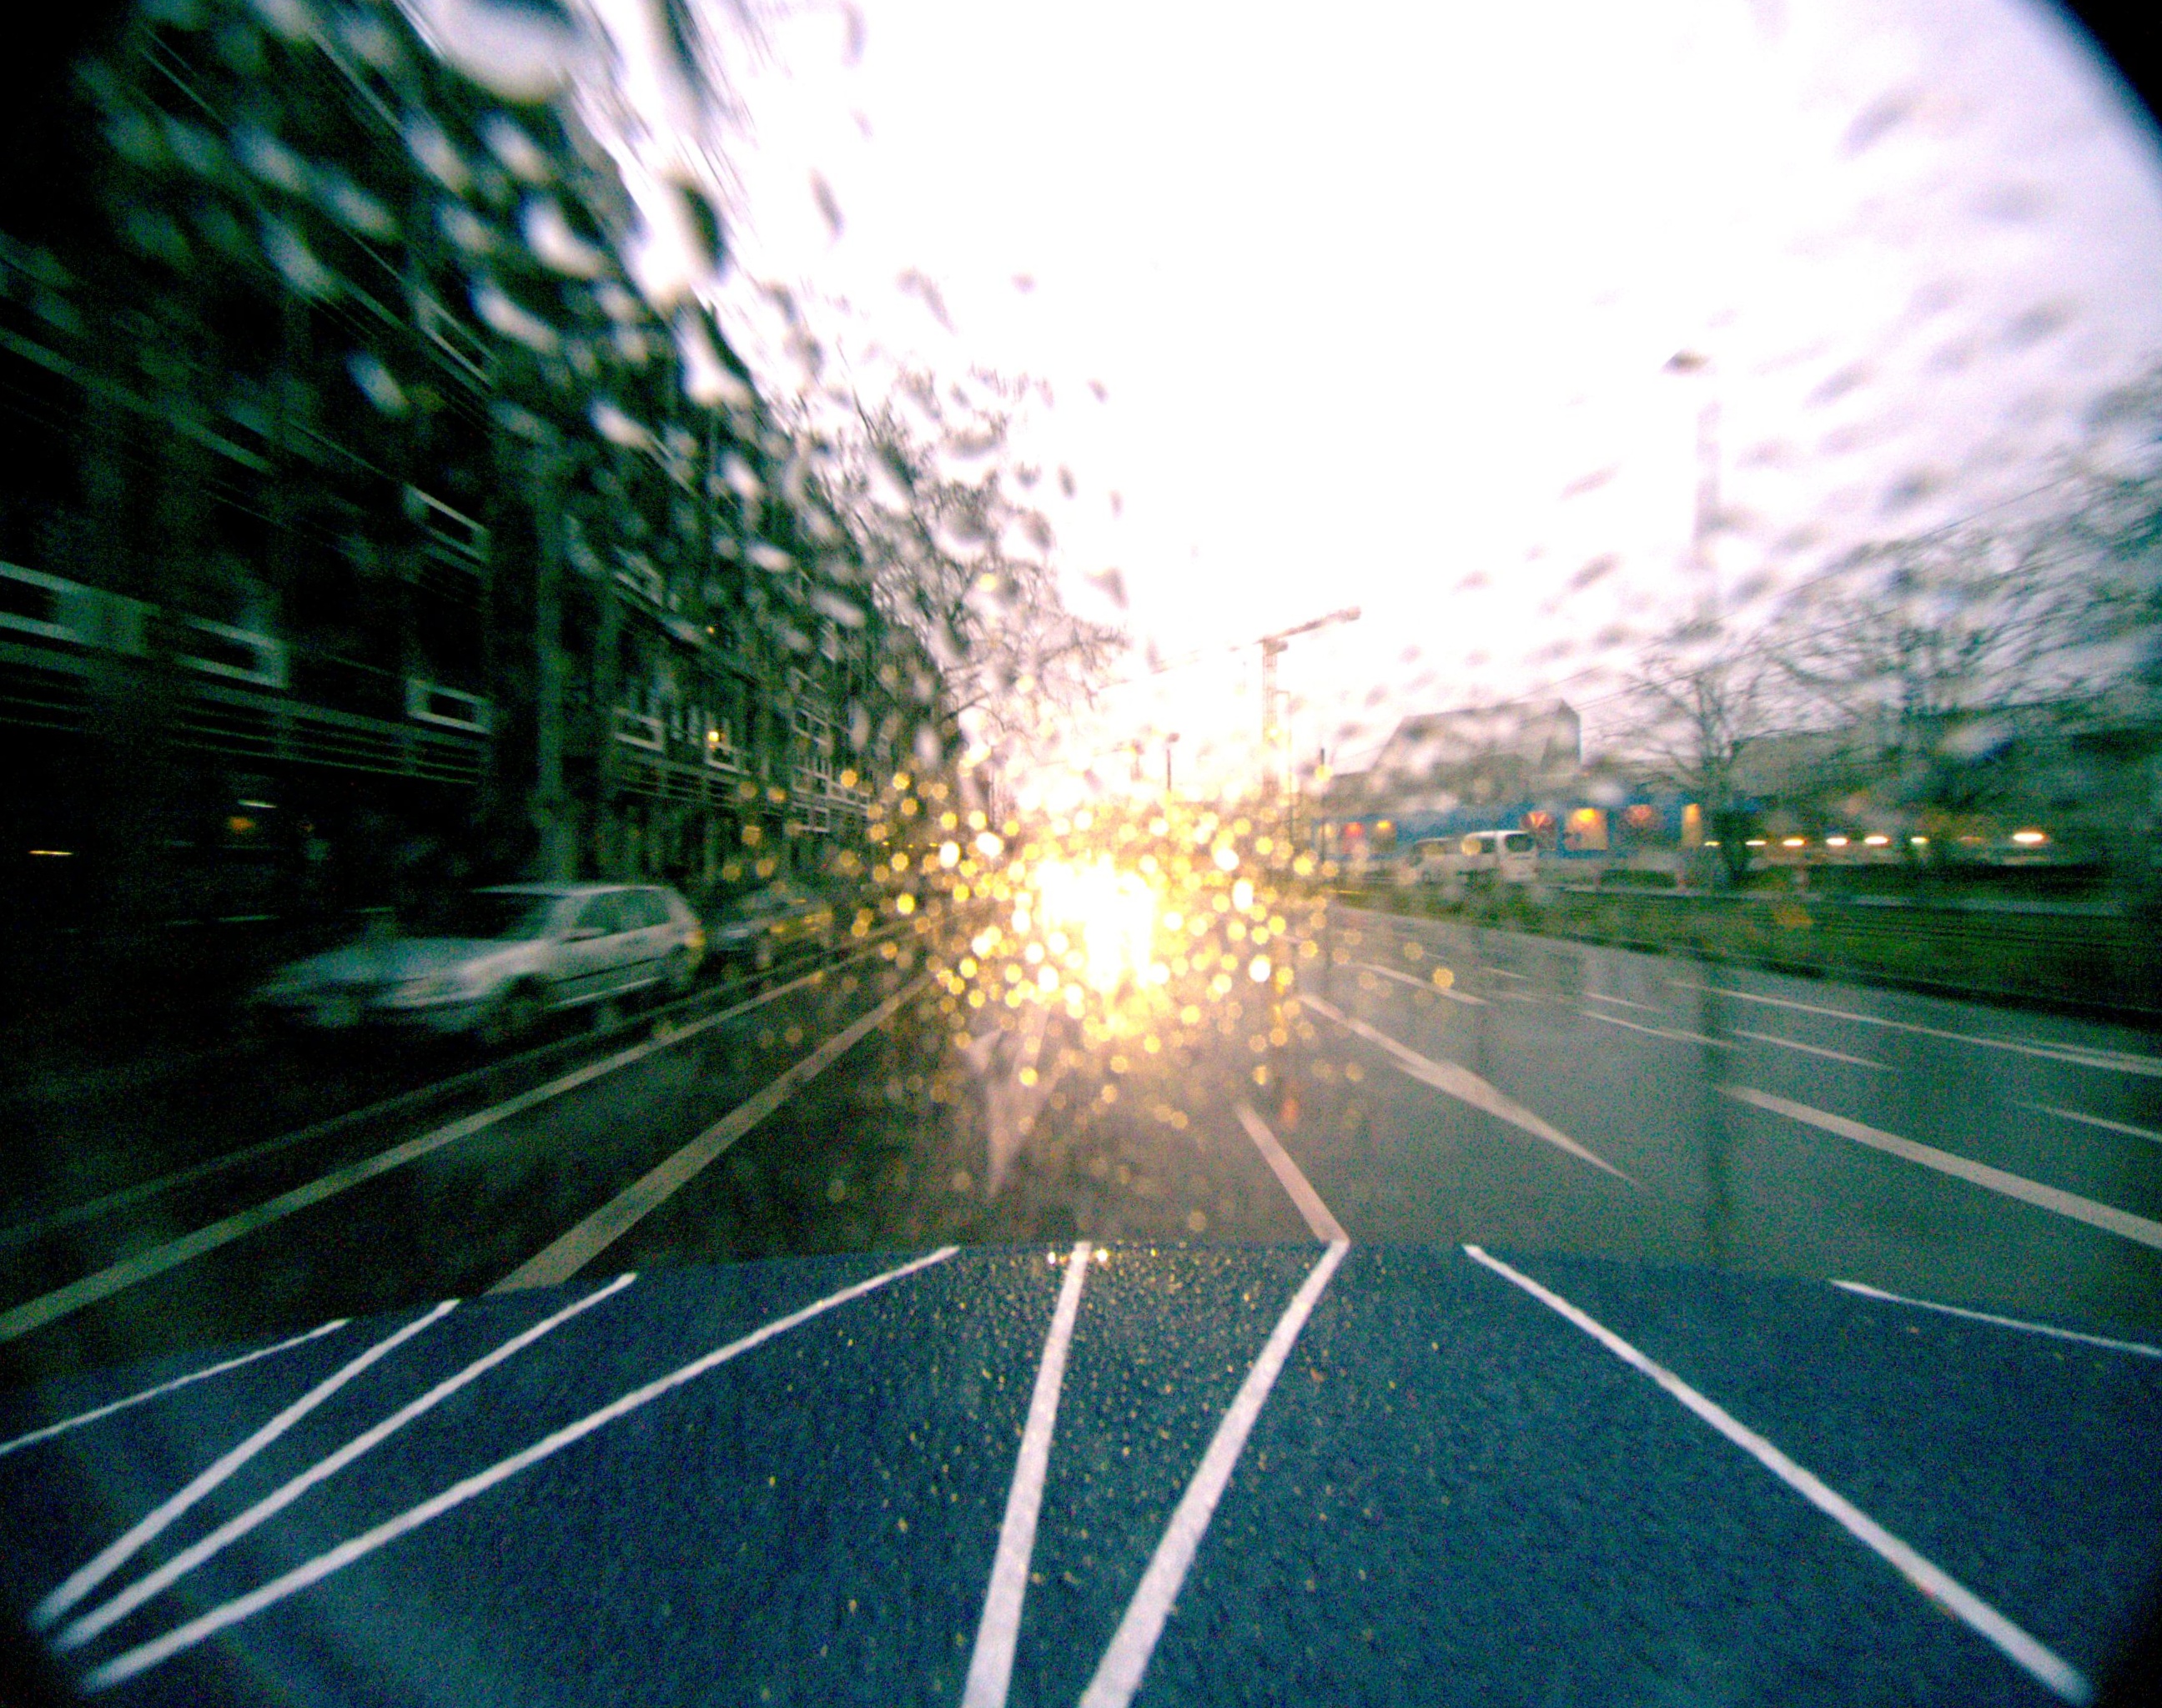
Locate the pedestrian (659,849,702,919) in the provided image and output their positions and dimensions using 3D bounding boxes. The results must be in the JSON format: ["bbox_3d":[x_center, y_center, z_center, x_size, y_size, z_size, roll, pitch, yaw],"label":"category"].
[{"bbox_3d":[-11.637,0.857,22.097,0.822,2.002,0.736,0,0,-1],"label":"pedestrian"}]

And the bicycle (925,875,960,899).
[{"bbox_3d":[-6.460,1.516,35.444,1.523,1.030,0.469,-2,1,-6],"label":"bicycle"}]

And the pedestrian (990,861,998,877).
[{"bbox_3d":[-10.850,1.830,94.440,0.838,2.002,0.771,-2,1,0],"label":"pedestrian"}]

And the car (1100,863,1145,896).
[{"bbox_3d":[1.947,1.202,36.695,1.778,1.466,4.129,0,0,-2],"label":"car"}]

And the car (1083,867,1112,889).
[{"bbox_3d":[1.152,1.724,54.829,1.855,1.466,4.129,0,0,-2],"label":"car"}]

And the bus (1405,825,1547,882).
[{"bbox_3d":[27.433,-0.005,53.862,2.815,3.556,12.301,0,0,-5],"label":"bus"}]

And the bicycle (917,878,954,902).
[{"bbox_3d":[-6.506,1.606,34.007,1.523,1.030,0.469,-2,1,-6],"label":"bicycle"}]

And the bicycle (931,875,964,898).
[{"bbox_3d":[-6.531,1.590,37.104,1.523,1.030,0.469,-2,1,-6],"label":"bicycle"}]

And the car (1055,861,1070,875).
[{"bbox_3d":[-2.628,1.989,108.871,1.858,2.001,4.002,-1,-1,2],"label":"car"}]

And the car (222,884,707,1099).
[{"bbox_3d":[-5.723,1.132,7.801,1.608,1.424,3.931,2,0,3],"label":"car"}]

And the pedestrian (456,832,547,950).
[{"bbox_3d":[-10.211,0.632,13.425,0.791,2.002,1.024,0,0,1],"label":"pedestrian"}]

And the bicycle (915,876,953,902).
[{"bbox_3d":[-6.317,1.508,32.742,1.523,1.030,0.469,-2,1,-6],"label":"bicycle"}]

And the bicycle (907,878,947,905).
[{"bbox_3d":[-6.298,1.538,31.182,1.523,1.030,0.469,-2,1,-6],"label":"bicycle"}]

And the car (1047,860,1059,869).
[{"bbox_3d":[-5.066,1.886,135.956,1.858,1.591,4.001,-1,-1,2],"label":"car"}]

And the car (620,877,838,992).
[{"bbox_3d":[-5.697,1.225,12.906,1.764,1.539,4.019,0,0,1],"label":"car"}]
